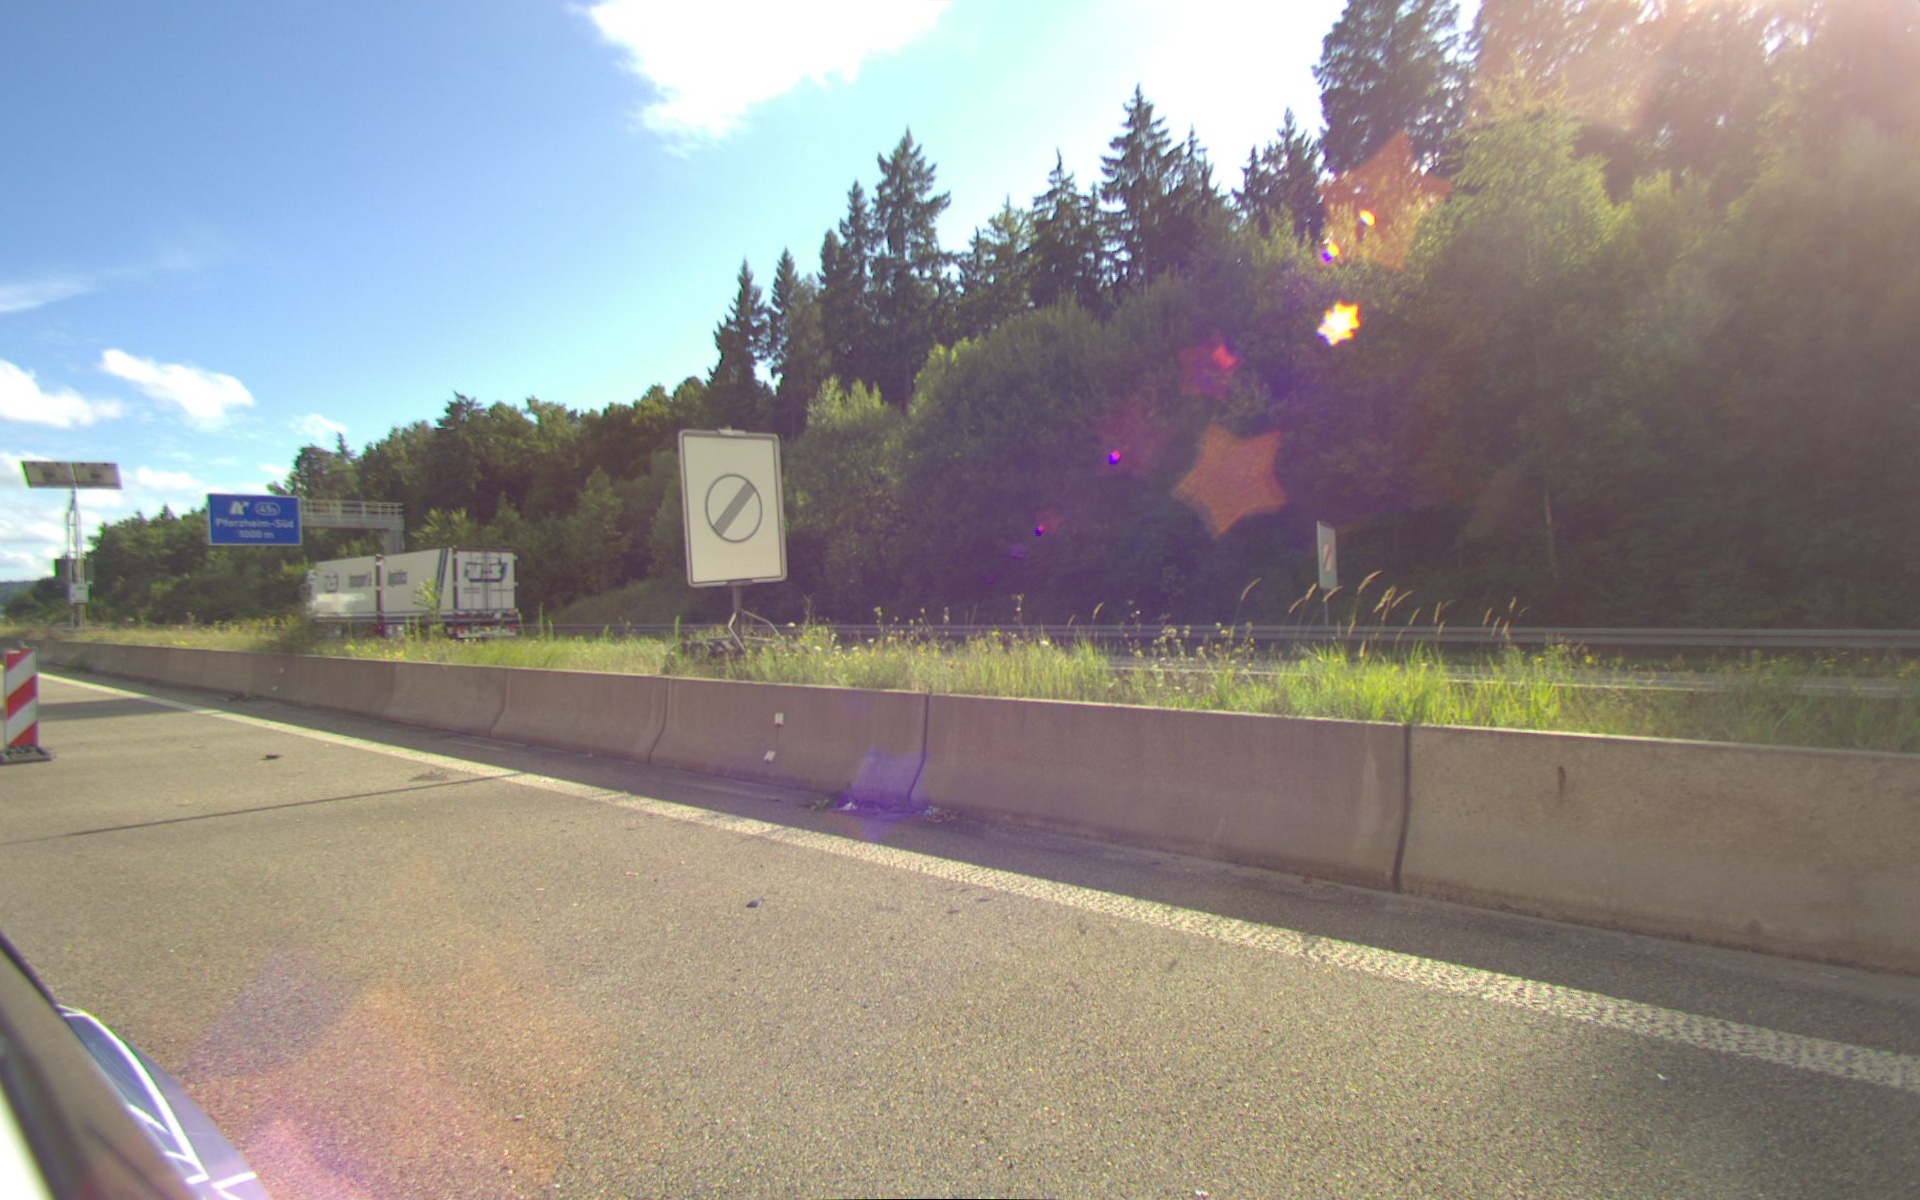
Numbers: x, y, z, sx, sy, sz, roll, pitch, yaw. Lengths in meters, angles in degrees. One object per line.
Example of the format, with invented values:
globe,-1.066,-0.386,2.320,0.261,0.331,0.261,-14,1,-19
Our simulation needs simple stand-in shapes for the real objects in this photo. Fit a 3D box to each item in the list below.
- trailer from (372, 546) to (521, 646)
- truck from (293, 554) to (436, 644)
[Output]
trailer,-22.269,-0.116,43.625,8.484,3.953,2.762,-1,0,41
truck,-29.597,0.000,49.980,10.856,4.015,2.754,-1,0,41
